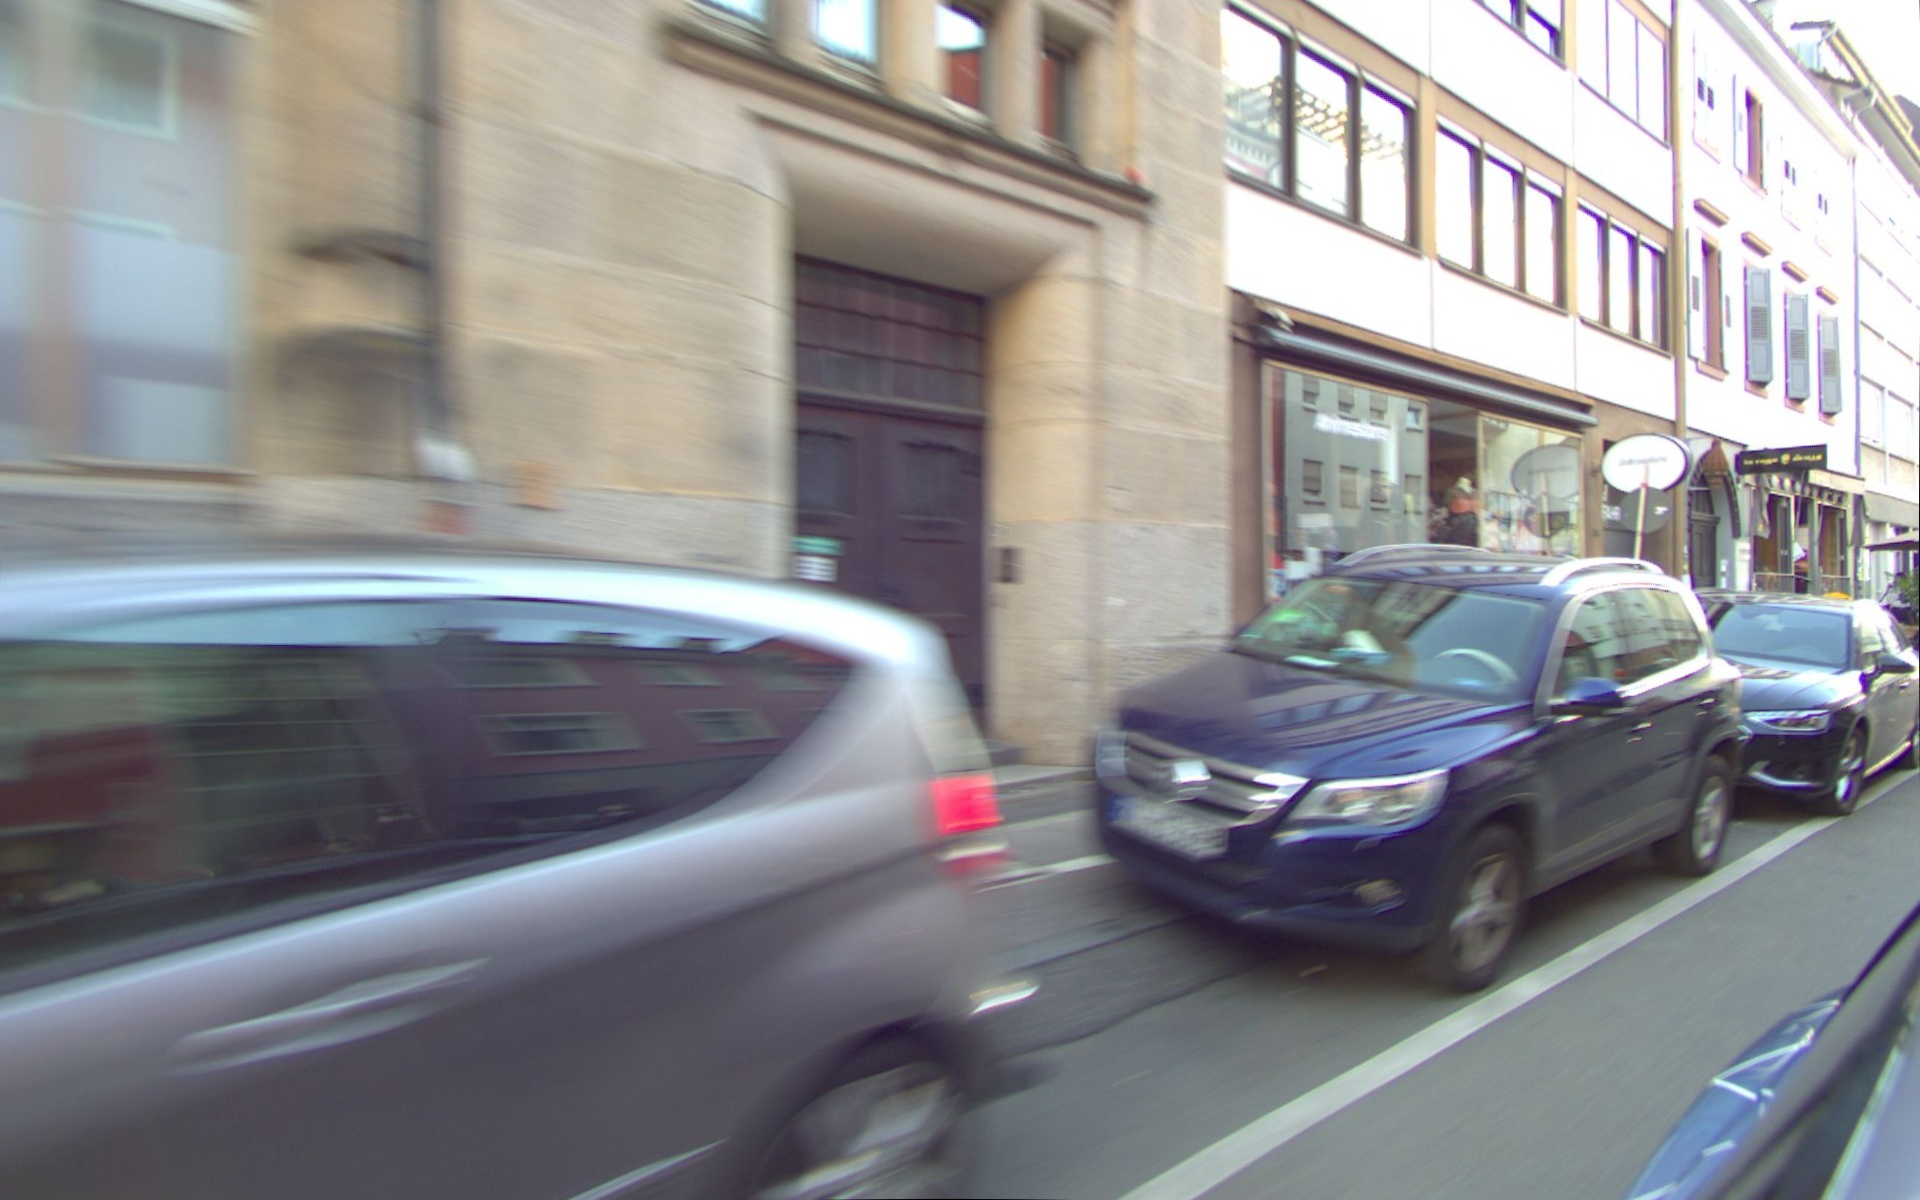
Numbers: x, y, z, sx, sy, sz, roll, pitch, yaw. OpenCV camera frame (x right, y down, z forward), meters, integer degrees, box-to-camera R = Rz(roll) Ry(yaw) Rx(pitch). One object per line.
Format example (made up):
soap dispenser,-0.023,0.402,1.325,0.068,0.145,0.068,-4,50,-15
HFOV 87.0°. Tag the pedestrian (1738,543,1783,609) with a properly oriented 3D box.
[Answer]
pedestrian,15.517,-0.466,19.612,0.598,1.258,0.567,-1,0,-38

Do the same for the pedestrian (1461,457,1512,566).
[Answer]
pedestrian,6.862,-1.136,13.181,0.417,1.367,0.437,-1,-1,-41

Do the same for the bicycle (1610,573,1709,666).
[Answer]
bicycle,9.048,0.230,13.064,1.720,1.103,0.520,0,3,-38

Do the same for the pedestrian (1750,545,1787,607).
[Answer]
pedestrian,16.477,-0.488,20.626,0.598,1.258,0.467,-1,0,-38

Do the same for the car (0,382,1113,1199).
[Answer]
car,-1.691,0.593,1.830,3.930,1.687,1.776,0,0,-41

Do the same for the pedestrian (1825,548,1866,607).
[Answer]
pedestrian,19.125,-0.484,21.866,0.598,1.258,0.567,-1,0,-38

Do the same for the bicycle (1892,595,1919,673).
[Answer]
bicycle,15.946,0.590,15.832,0.585,1.243,1.875,0,3,-37

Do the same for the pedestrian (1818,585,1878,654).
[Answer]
pedestrian,16.499,0.345,18.798,0.634,1.258,0.736,-1,1,-38

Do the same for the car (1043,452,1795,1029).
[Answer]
car,2.546,0.444,5.151,4.161,1.829,1.674,0,-1,-37

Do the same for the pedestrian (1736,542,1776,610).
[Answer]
pedestrian,15.037,-0.459,19.123,0.598,1.258,0.467,-1,0,-38

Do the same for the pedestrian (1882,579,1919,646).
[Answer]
pedestrian,18.281,0.231,19.427,0.634,1.259,0.737,-1,-1,-36

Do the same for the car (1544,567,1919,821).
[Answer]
car,6.761,0.566,8.312,4.899,1.536,1.694,0,-1,-38

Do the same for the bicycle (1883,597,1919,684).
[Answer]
bicycle,15.416,0.671,15.421,0.585,1.318,1.875,0,3,-37
